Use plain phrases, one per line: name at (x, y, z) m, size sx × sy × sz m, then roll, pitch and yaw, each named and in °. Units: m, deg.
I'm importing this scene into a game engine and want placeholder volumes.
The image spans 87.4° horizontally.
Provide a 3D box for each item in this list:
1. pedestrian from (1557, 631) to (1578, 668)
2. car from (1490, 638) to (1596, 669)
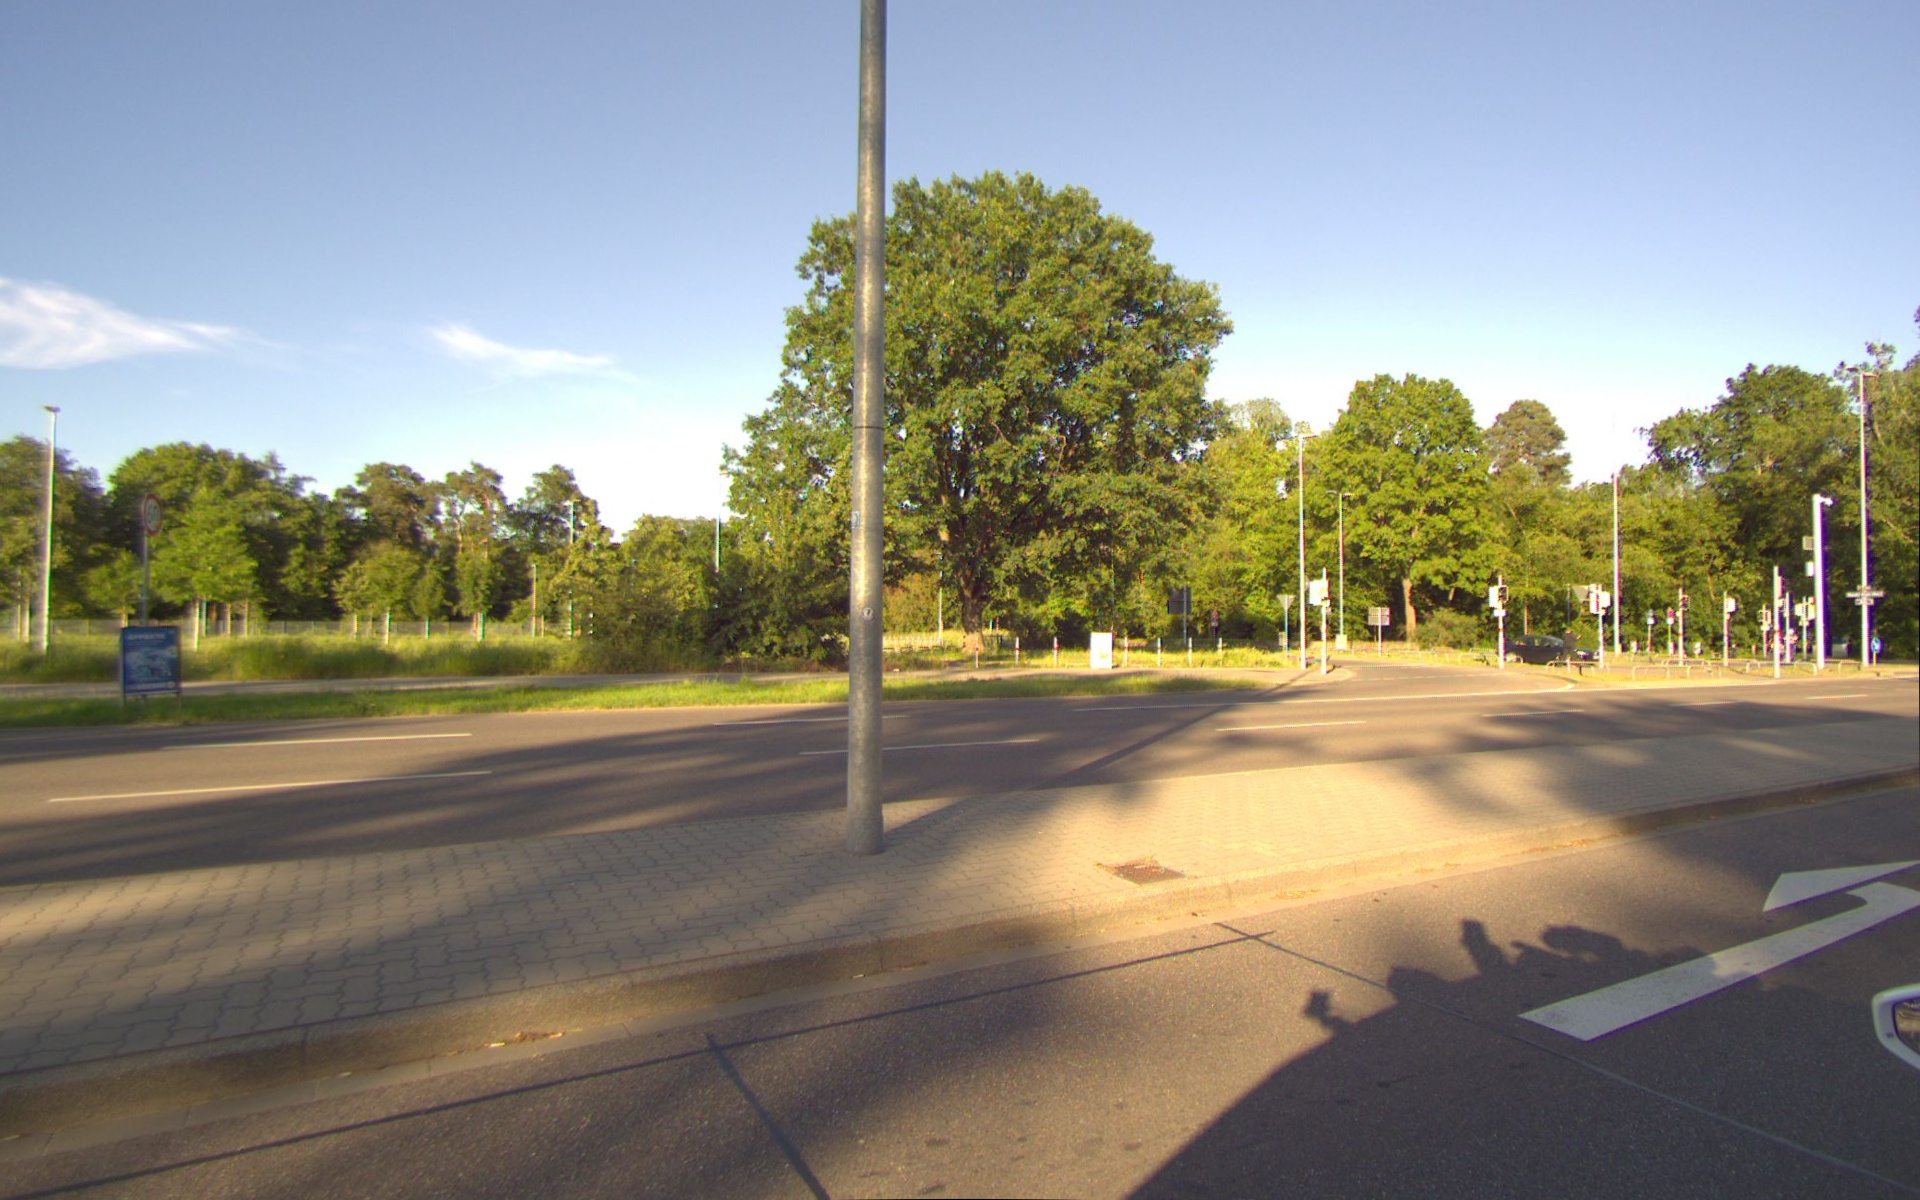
pedestrian at (25.726, 2.093, 42.536) m, size 0.636 × 1.580 × 0.539 m, roll 0°, pitch -2°, yaw 18°
car at (27.338, 2.479, 47.241) m, size 1.728 × 1.405 × 4.092 m, roll 1°, pitch -2°, yaw -24°
